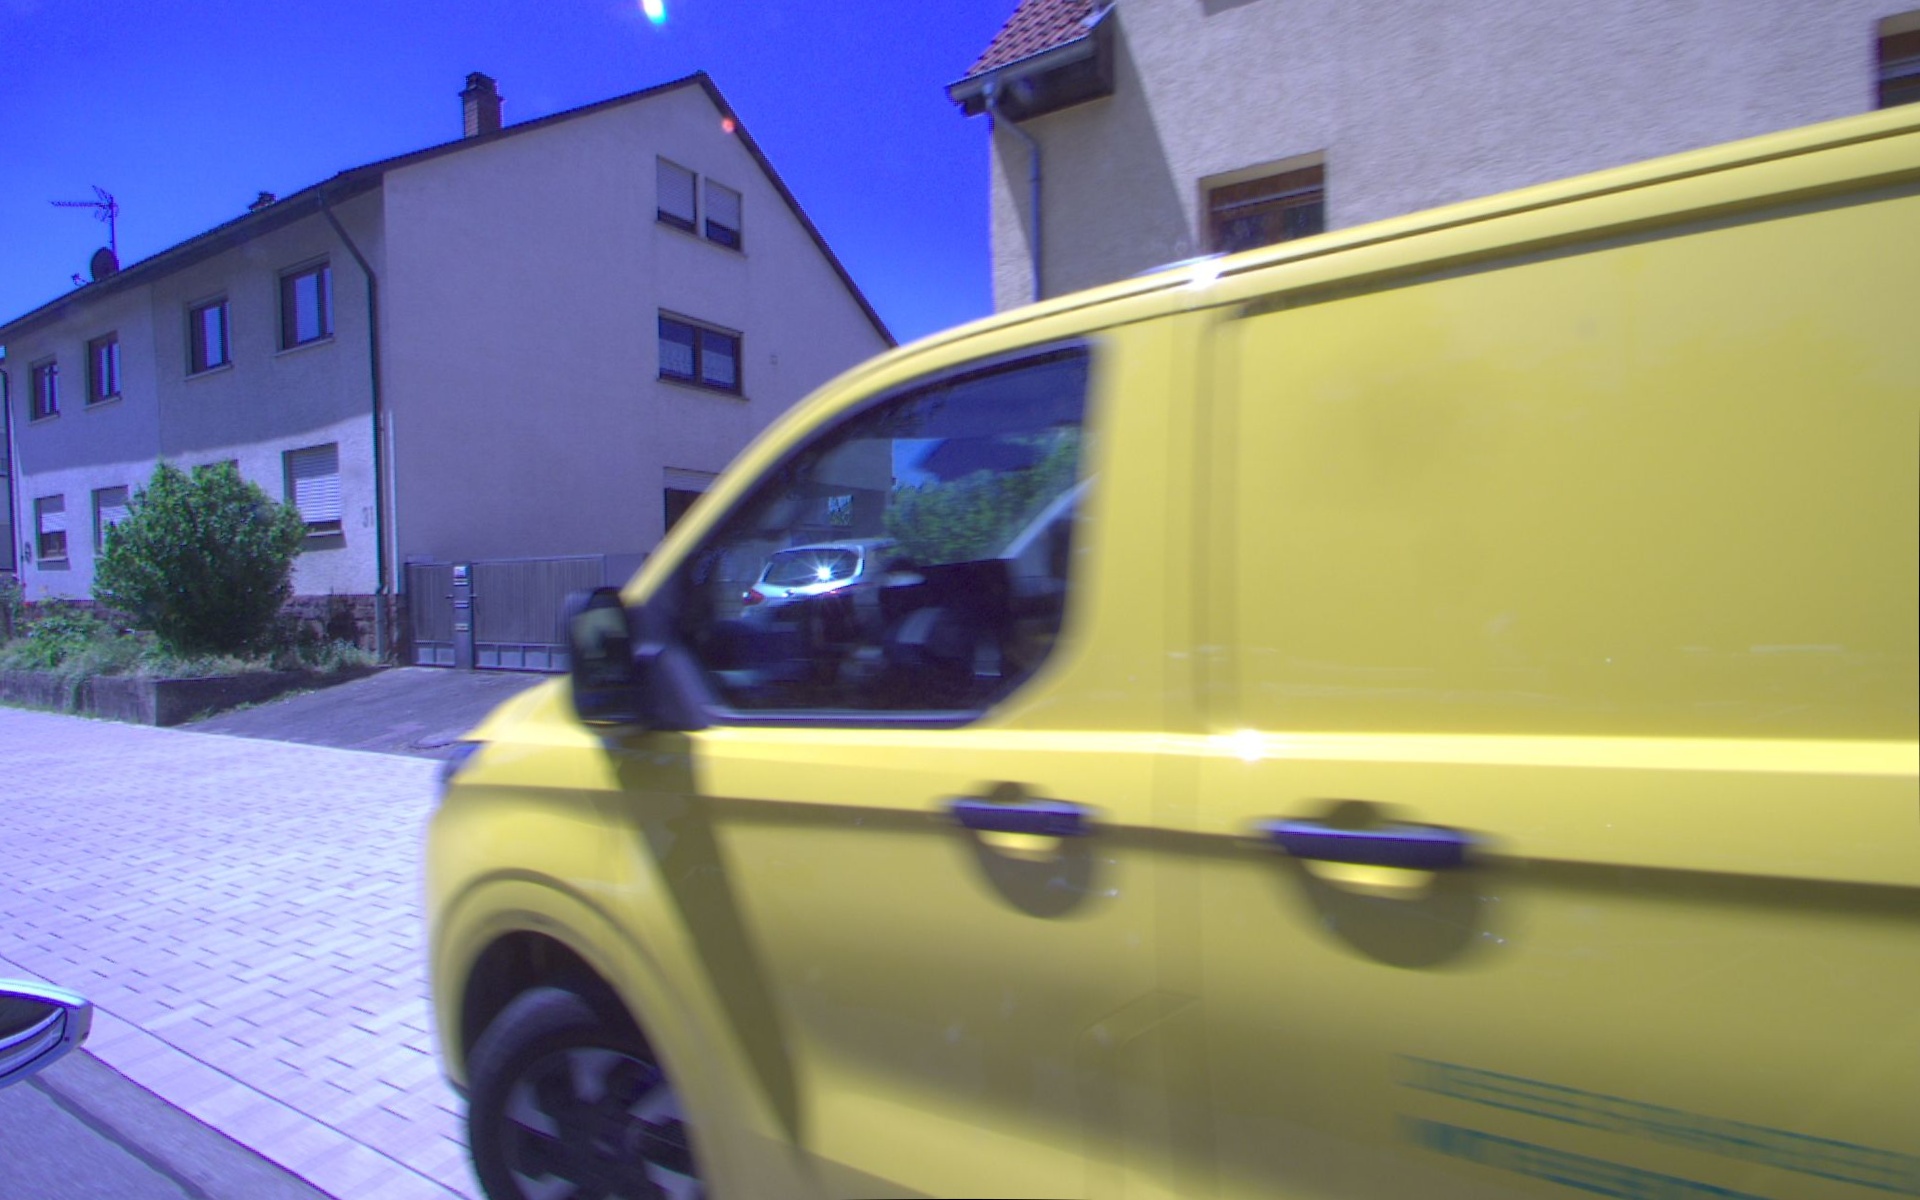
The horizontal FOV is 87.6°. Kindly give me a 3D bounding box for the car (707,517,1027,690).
[{"bbox_3d":[-0.900,-0.055,12.007,1.846,1.700,3.979,-1,3,29],"label":"car"}]

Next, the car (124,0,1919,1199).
[{"bbox_3d":[1.010,0.334,1.932,5.541,2.042,2.184,-2,4,31],"label":"car"}]
